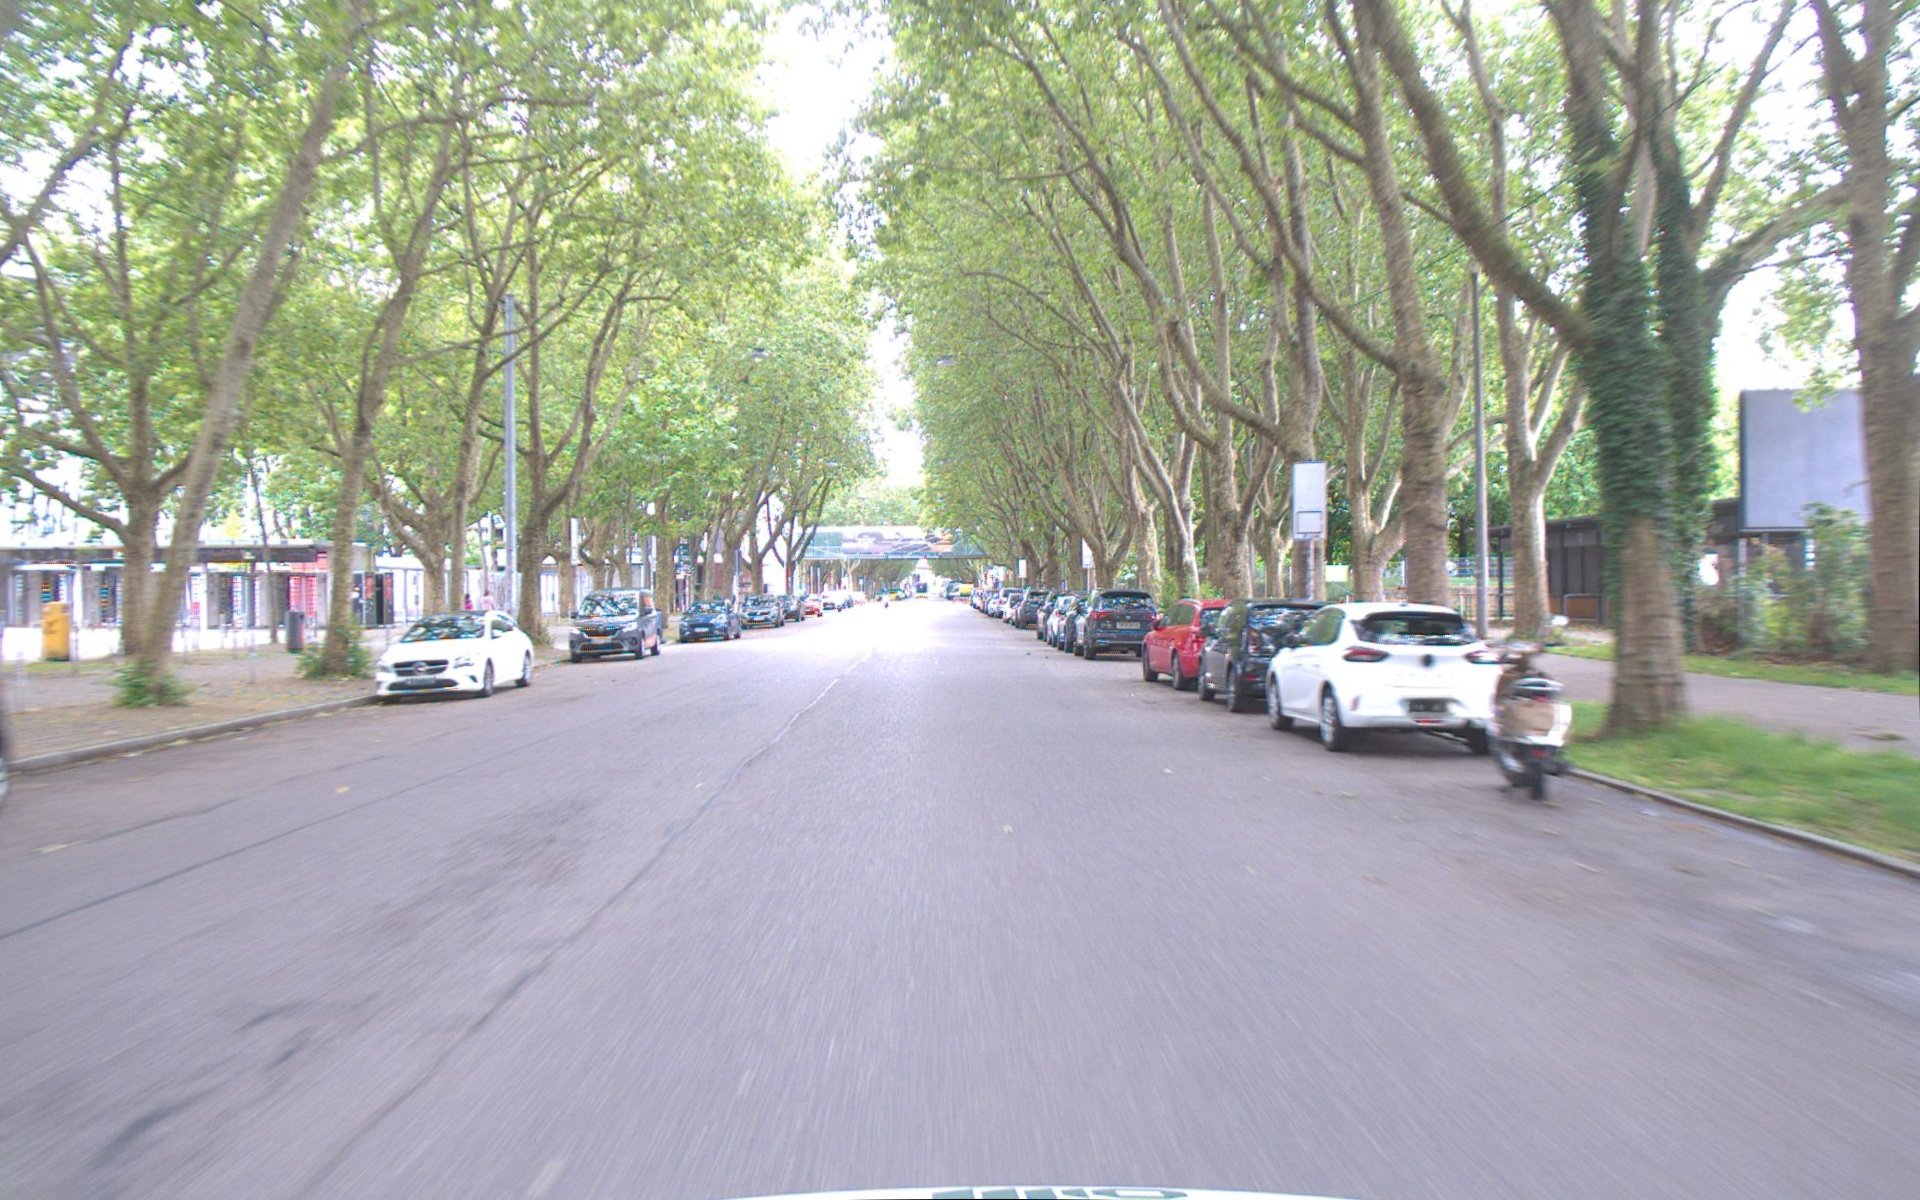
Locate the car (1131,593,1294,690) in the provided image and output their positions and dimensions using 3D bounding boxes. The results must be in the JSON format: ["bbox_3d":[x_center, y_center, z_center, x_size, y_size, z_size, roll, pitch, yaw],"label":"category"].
[{"bbox_3d":[4.168,0.640,28.014,1.683,1.464,4.624,1,0,-5],"label":"car"}]

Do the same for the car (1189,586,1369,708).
[{"bbox_3d":[4.362,0.595,23.174,1.695,1.496,4.080,2,0,0],"label":"car"}]

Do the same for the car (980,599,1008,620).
[{"bbox_3d":[2.432,0.661,119.175,1.839,1.452,4.479,0,0,0],"label":"car"}]

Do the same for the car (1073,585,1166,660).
[{"bbox_3d":[3.765,0.504,39.616,1.720,1.648,4.438,1,0,-1],"label":"car"}]

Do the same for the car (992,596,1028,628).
[{"bbox_3d":[2.860,0.677,95.428,1.864,1.769,4.505,0,0,-1],"label":"car"}]

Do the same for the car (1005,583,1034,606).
[{"bbox_3d":[4.215,-0.384,117.494,1.766,1.583,3.999,-1,0,-2],"label":"car"}]

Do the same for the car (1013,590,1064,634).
[{"bbox_3d":[3.250,0.479,69.028,1.673,1.728,4.628,1,0,-2],"label":"car"}]

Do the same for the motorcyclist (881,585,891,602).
[{"bbox_3d":[-6.336,-0.562,141.743,0.853,1.506,1.264,0,0,-4],"label":"motorcyclist"}]

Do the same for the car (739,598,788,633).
[{"bbox_3d":[-9.172,0.697,77.481,1.840,1.553,4.150,-2,0,-1],"label":"car"}]

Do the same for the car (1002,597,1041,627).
[{"bbox_3d":[3.021,0.587,81.875,1.673,1.452,3.888,1,0,-1],"label":"car"}]

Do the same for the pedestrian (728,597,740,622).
[{"bbox_3d":[-15.256,0.649,111.787,0.580,1.648,0.792,0,0,8],"label":"pedestrian"}]

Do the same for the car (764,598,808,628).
[{"bbox_3d":[-9.370,0.684,89.411,1.789,1.491,4.628,-2,0,1],"label":"car"}]

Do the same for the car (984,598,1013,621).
[{"bbox_3d":[2.587,0.632,112.505,1.819,1.507,4.176,0,0,-1],"label":"car"}]

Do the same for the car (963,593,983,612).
[{"bbox_3d":[1.261,0.274,164.912,1.810,1.814,5.210,1,0,-1],"label":"car"}]

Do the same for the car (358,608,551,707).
[{"bbox_3d":[-8.611,0.924,28.634,1.865,1.427,4.750,-4,0,-1],"label":"car"}]

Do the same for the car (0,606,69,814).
[{"bbox_3d":[-7.971,0.880,10.847,1.796,1.520,4.442,-4,0,-1],"label":"car"}]

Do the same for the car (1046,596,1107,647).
[{"bbox_3d":[3.559,0.636,50.945,1.583,1.466,3.710,2,0,0],"label":"car"}]

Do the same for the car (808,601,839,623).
[{"bbox_3d":[-8.849,0.749,107.444,1.771,1.378,3.999,-1,0,-1],"label":"car"}]

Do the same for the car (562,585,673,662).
[{"bbox_3d":[-8.675,0.563,42.269,1.910,1.781,4.637,-2,0,-2],"label":"car"}]

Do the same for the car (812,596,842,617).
[{"bbox_3d":[-10.548,0.516,131.721,2.031,1.590,4.755,-1,0,-1],"label":"car"}]

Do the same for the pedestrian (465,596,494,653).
[{"bbox_3d":[-15.084,0.757,51.921,0.562,1.772,0.768,-1,0,14],"label":"pedestrian"}]

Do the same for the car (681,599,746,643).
[{"bbox_3d":[-8.872,0.722,59.800,1.689,1.512,4.573,-1,0,-1],"label":"car"}]

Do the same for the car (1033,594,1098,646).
[{"bbox_3d":[3.524,0.649,55.852,1.742,1.702,4.636,0,0,-2],"label":"car"}]

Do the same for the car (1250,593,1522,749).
[{"bbox_3d":[4.406,0.667,17.743,1.700,1.463,4.121,-1,0,-3],"label":"car"}]

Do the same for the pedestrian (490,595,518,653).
[{"bbox_3d":[-14.353,0.755,52.074,0.564,1.801,0.768,-1,0,14],"label":"pedestrian"}]

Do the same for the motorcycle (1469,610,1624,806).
[{"bbox_3d":[4.432,0.765,12.633,0.697,1.355,1.994,0,0,7],"label":"motorcycle"}]

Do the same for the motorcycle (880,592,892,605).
[{"bbox_3d":[-6.347,-0.116,141.821,0.856,1.098,3.050,0,0,-4],"label":"motorcycle"}]

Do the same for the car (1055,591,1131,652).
[{"bbox_3d":[3.573,0.546,44.928,1.634,1.535,4.353,1,0,-1],"label":"car"}]

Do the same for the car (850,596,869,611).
[{"bbox_3d":[-11.320,0.390,185.667,1.955,1.629,3.995,0,1,-6],"label":"car"}]
